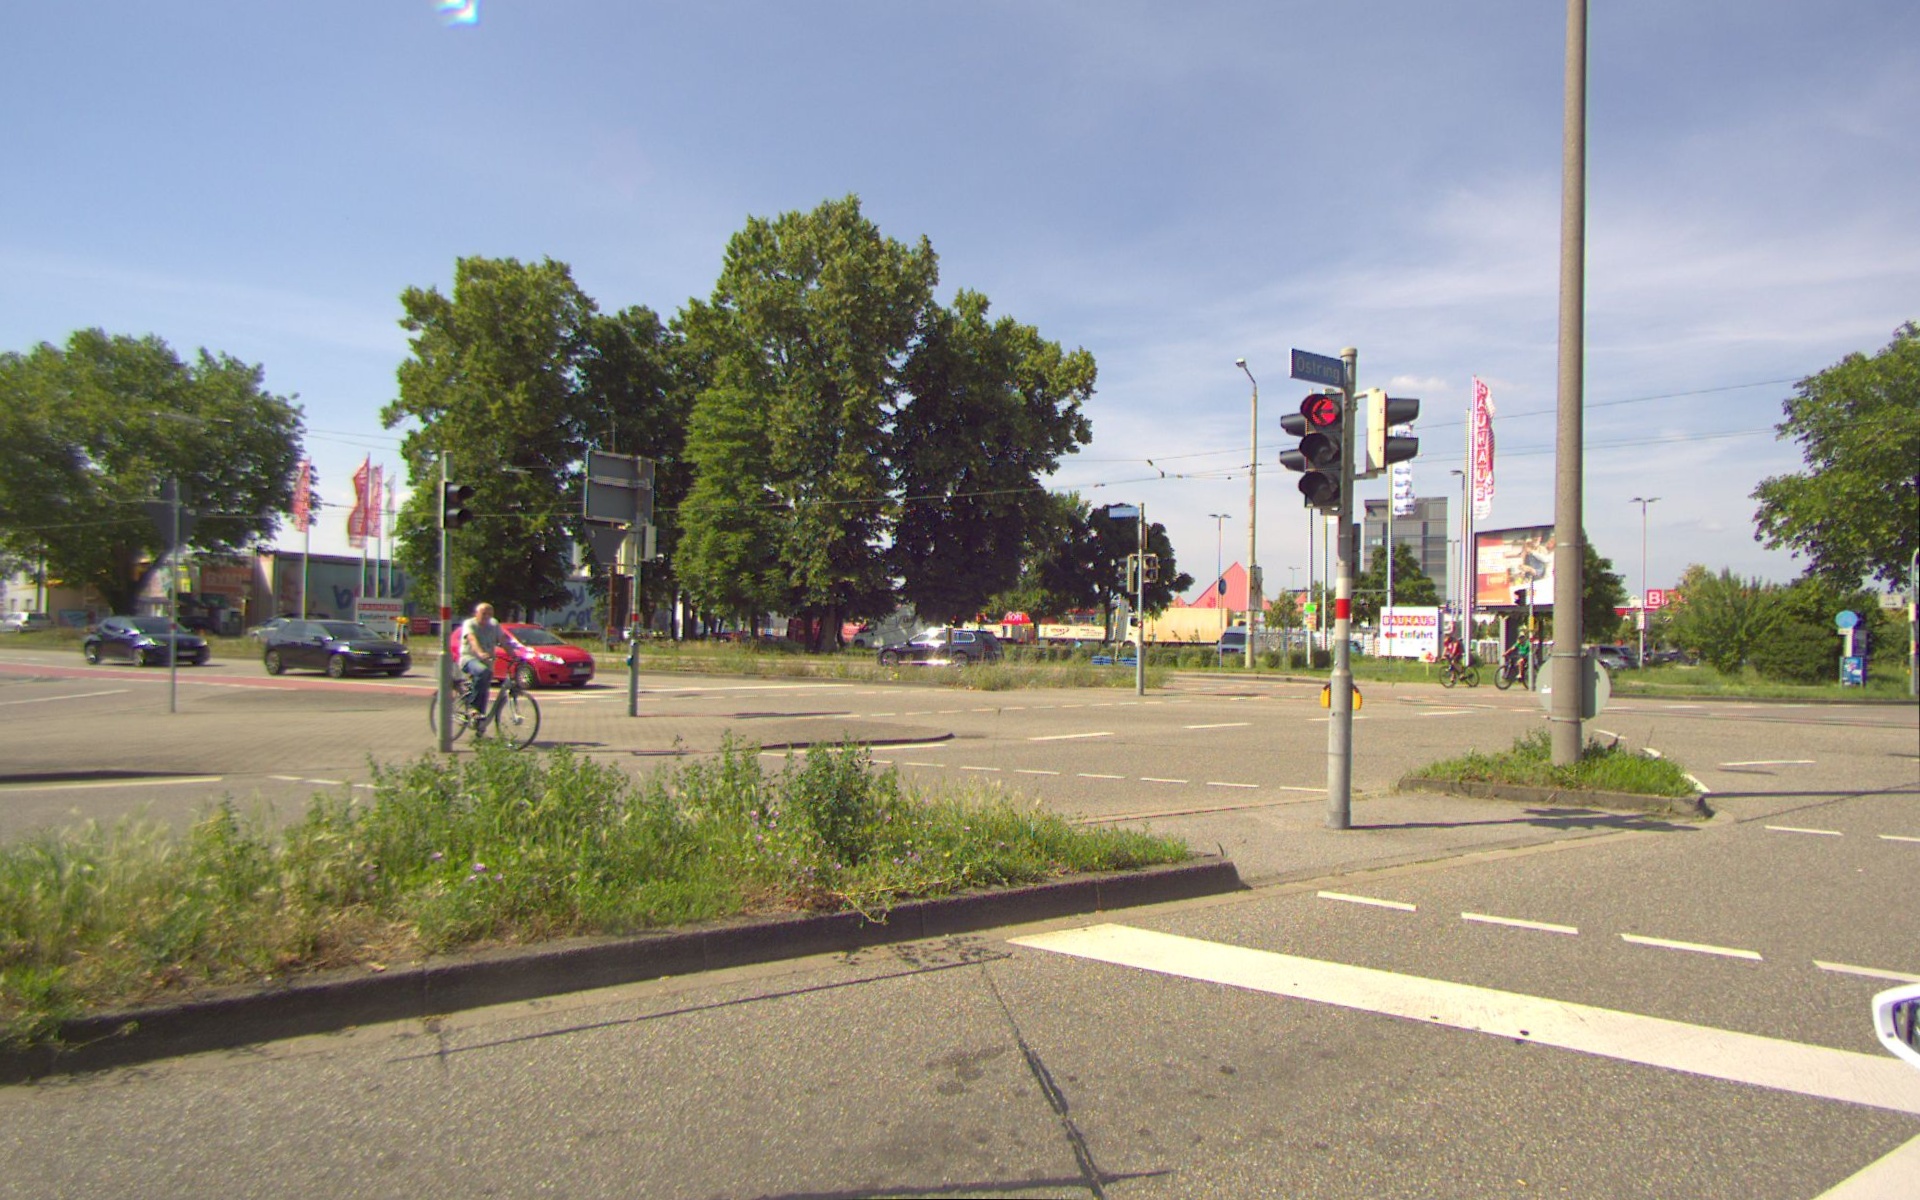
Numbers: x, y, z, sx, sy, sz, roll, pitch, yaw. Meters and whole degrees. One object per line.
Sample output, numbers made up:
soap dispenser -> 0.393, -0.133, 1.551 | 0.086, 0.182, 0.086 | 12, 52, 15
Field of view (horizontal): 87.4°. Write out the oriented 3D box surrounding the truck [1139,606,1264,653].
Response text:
truck -> 18.289, 2.186, 76.048 | 8.753, 3.355, 3.159 | 0, -2, 23

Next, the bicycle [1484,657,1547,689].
bicycle -> 17.443, 2.296, 31.533 | 1.963, 0.950, 0.416 | 2, -2, -13

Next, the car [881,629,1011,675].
car -> -0.464, 1.765, 34.900 | 4.139, 1.462, 1.790 | 0, -2, 19

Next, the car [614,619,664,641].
car -> -34.013, 3.178, 106.588 | 2.112, 2.308, 5.037 | 0, -2, 26

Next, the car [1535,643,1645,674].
car -> 33.441, 3.087, 53.433 | 2.180, 1.432, 4.530 | 2, -2, -36

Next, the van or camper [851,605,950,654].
van or camper -> -4.079, 1.970, 68.646 | 6.207, 3.141, 2.710 | 1, -1, 26

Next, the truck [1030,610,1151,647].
truck -> 10.711, 2.323, 82.855 | 9.431, 2.930, 2.925 | 0, -2, 24

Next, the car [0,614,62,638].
car -> -58.085, 1.611, 62.716 | 3.788, 1.446, 1.698 | 0, -2, 26

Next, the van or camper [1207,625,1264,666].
van or camper -> 15.990, 2.597, 58.016 | 2.155, 2.238, 5.514 | 0, -2, 26

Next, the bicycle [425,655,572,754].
bicycle -> -5.727, 1.257, 12.413 | 2.128, 1.078, 0.524 | 0, -2, 31

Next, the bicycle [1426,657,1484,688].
bicycle -> 15.798, 2.319, 32.052 | 1.719, 0.950, 0.434 | 1, -1, -8

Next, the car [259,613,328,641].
car -> -51.189, 2.100, 77.178 | 1.971, 2.040, 3.980 | 0, -2, 41

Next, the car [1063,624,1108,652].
car -> 12.361, 3.737, 98.288 | 2.344, 2.562, 6.119 | 0, -2, 28

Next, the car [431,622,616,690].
car -> -10.318, 1.288, 23.768 | 3.924, 1.468, 1.846 | 0, -2, 24

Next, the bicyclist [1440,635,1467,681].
bicyclist -> 15.766, 1.851, 32.101 | 0.598, 1.432, 0.529 | 1, -1, -7

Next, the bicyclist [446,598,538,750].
bicyclist -> -5.795, 0.890, 12.450 | 0.754, 1.812, 0.704 | 0, -2, 31

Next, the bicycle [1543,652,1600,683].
bicycle -> 21.371, 2.371, 35.119 | 1.864, 1.051, 0.594 | 2, -2, -16

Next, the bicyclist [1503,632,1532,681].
bicyclist -> 17.500, 1.780, 31.554 | 0.599, 1.511, 0.528 | 2, -1, -15

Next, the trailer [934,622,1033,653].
trailer -> 2.042, 3.216, 87.113 | 8.057, 2.522, 2.924 | 0, -2, 26

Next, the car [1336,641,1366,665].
car -> 27.719, 3.708, 71.174 | 1.787, 1.593, 4.278 | 0, -2, 24

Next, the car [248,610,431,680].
car -> -16.329, 1.158, 26.507 | 3.920, 1.721, 2.001 | 0, -2, 18

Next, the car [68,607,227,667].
car -> -24.953, 1.119, 30.880 | 3.921, 1.721, 2.001 | 0, -2, 19
